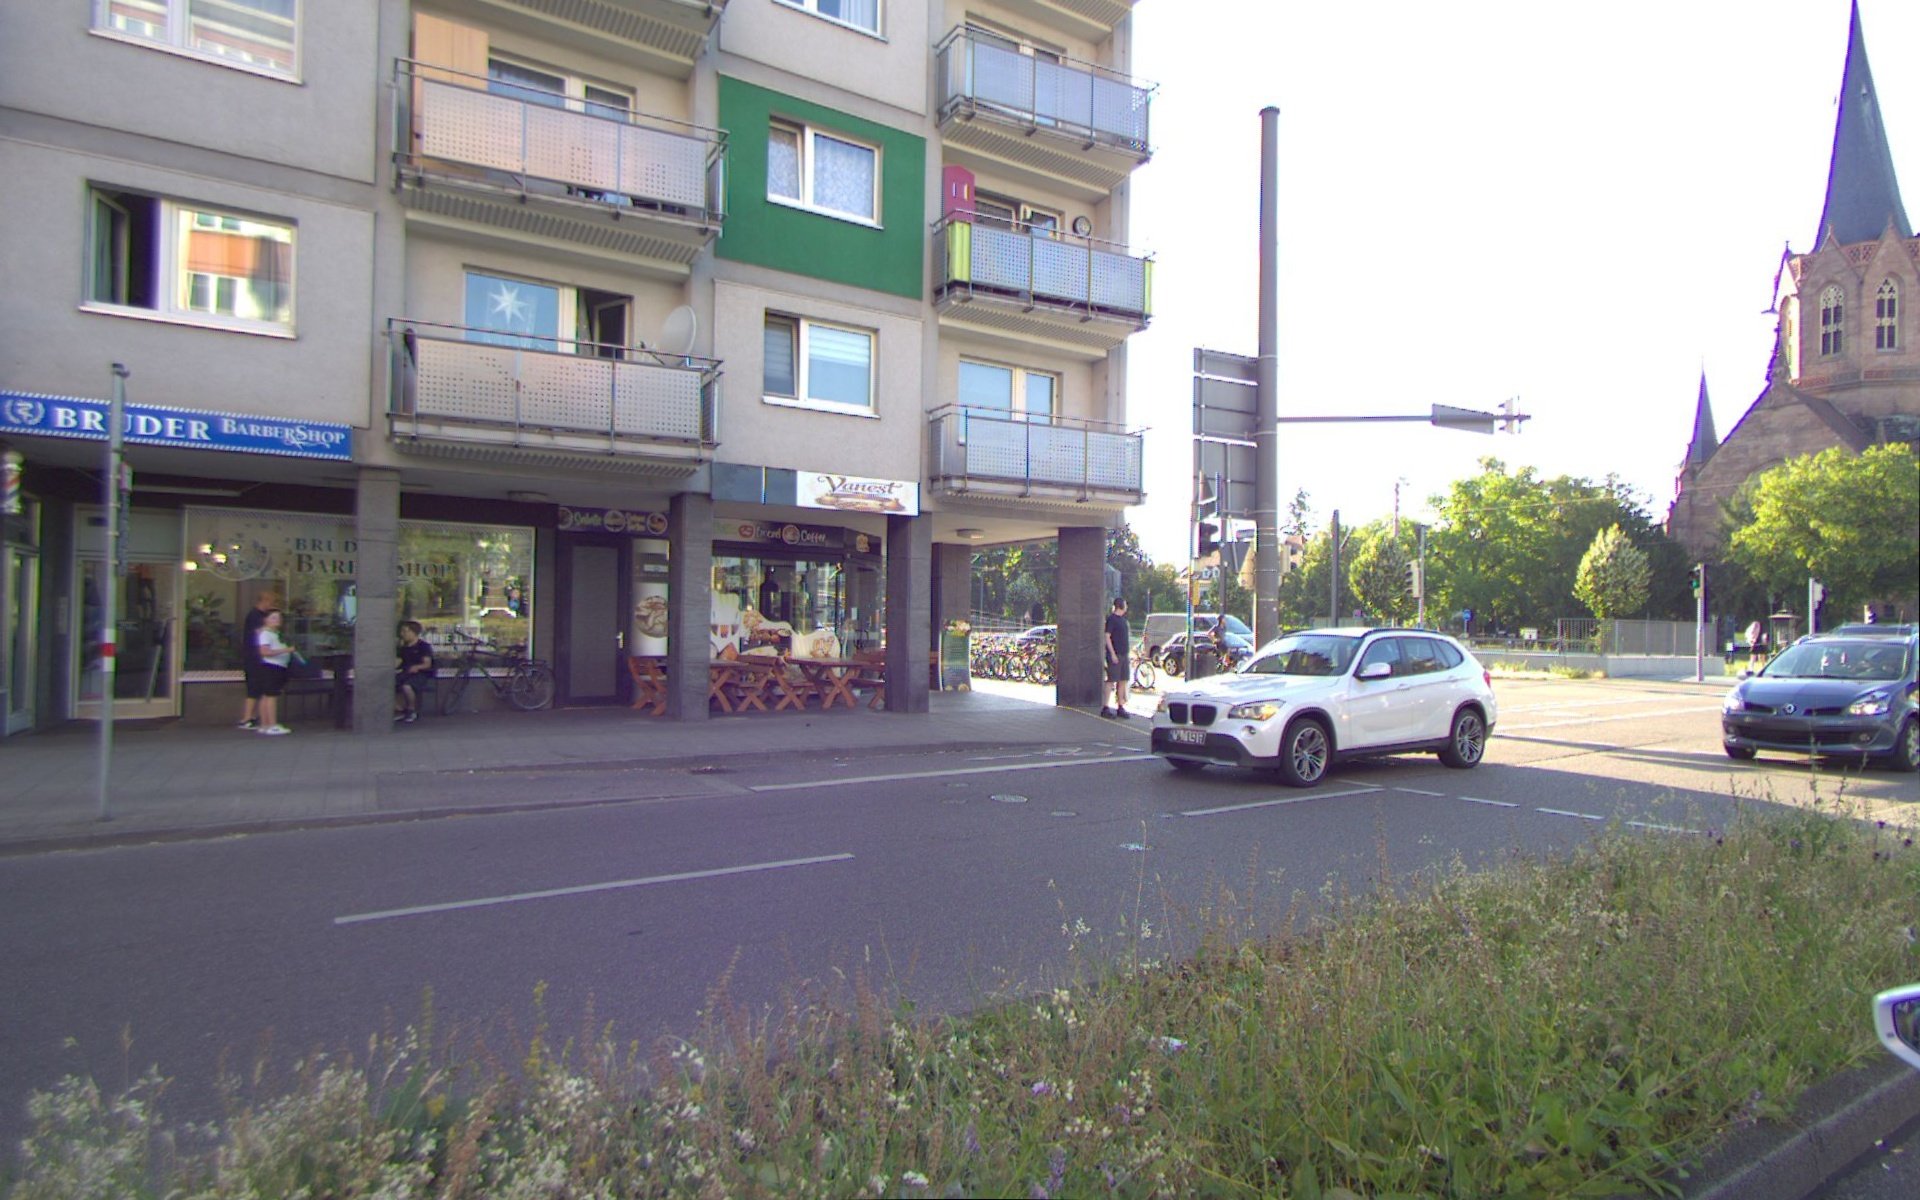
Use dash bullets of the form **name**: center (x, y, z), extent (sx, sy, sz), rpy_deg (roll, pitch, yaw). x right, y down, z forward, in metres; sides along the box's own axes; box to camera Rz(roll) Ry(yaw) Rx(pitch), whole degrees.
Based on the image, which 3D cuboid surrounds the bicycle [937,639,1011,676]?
- **bicycle**: center (0.448, 1.725, 30.275), extent (2.273, 1.065, 0.558), rpy_deg (2, -2, -31)

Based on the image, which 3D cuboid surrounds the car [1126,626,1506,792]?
- **car**: center (3.988, 1.052, 11.036), extent (4.202, 1.508, 1.743), rpy_deg (1, -2, -33)

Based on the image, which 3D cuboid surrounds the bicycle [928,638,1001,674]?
- **bicycle**: center (0.153, 1.719, 30.784), extent (2.273, 1.065, 0.558), rpy_deg (2, -2, -31)

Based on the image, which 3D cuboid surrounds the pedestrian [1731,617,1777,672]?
- **pedestrian**: center (25.999, 1.455, 32.884), extent (0.803, 1.762, 0.960), rpy_deg (2, -1, -32)

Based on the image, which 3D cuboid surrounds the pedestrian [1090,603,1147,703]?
- **pedestrian**: center (2.946, 0.975, 18.703), extent (0.802, 1.811, 0.606), rpy_deg (1, 1, -27)

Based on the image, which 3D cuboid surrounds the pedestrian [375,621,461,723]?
- **pedestrian**: center (-7.316, 0.951, 13.578), extent (0.613, 1.331, 0.811), rpy_deg (0, -1, 16)

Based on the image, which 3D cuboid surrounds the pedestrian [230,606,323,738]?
- **pedestrian**: center (-8.005, 0.826, 11.776), extent (0.613, 1.486, 0.658), rpy_deg (0, -1, 24)

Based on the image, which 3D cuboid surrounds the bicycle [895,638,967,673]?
- **bicycle**: center (-0.918, 1.800, 32.664), extent (2.273, 1.065, 0.731), rpy_deg (2, -2, -31)

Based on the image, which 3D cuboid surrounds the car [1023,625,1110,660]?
- **car**: center (4.626, 1.833, 43.977), extent (1.781, 1.392, 3.880), rpy_deg (2, -2, -32)

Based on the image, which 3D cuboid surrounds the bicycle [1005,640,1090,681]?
- **bicycle**: center (2.368, 1.616, 26.953), extent (2.273, 1.065, 0.731), rpy_deg (2, -2, -31)

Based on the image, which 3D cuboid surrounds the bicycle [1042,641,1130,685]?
- **bicycle**: center (3.208, 1.590, 25.477), extent (2.273, 1.065, 0.731), rpy_deg (2, -2, -31)

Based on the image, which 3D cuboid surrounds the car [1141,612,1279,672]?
- **car**: center (8.982, 1.472, 36.550), extent (1.978, 2.040, 4.896), rpy_deg (2, -2, -32)

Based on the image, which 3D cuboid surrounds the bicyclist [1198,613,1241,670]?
- **bicyclist**: center (7.494, 1.194, 29.034), extent (0.952, 1.619, 0.732), rpy_deg (1, -2, -30)

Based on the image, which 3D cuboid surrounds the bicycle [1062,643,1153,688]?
- **bicycle**: center (3.646, 1.603, 24.795), extent (2.273, 1.065, 0.731), rpy_deg (2, -2, -31)

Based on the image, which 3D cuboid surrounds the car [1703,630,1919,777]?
- **car**: center (10.668, 1.103, 11.930), extent (3.939, 1.490, 1.584), rpy_deg (1, -2, -31)

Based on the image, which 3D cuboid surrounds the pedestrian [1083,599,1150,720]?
- **pedestrian**: center (2.531, 0.947, 16.274), extent (0.803, 1.900, 0.605), rpy_deg (1, 2, -30)

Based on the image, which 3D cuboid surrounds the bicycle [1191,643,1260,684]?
- **bicycle**: center (7.608, 1.811, 28.828), extent (0.940, 1.112, 1.769), rpy_deg (1, -2, -30)

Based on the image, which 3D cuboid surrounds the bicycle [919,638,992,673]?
- **bicycle**: center (-0.125, 1.720, 31.292), extent (2.273, 1.065, 0.642), rpy_deg (2, -2, -31)

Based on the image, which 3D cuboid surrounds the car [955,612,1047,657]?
- **car**: center (1.901, 1.620, 48.079), extent (1.978, 2.040, 4.896), rpy_deg (2, -2, -32)

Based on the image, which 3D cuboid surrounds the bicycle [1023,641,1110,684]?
- **bicycle**: center (2.784, 1.607, 26.143), extent (2.273, 1.065, 0.731), rpy_deg (2, -2, -31)

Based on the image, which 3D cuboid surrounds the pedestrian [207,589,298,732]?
- **pedestrian**: center (-8.643, 0.722, 12.287), extent (0.613, 1.694, 0.658), rpy_deg (0, -1, 24)

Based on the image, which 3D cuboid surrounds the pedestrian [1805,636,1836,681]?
- **pedestrian**: center (34.193, 2.298, 39.923), extent (0.833, 1.719, 1.011), rpy_deg (2, 0, 44)

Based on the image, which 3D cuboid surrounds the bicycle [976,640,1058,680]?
- **bicycle**: center (1.616, 1.684, 28.320), extent (2.273, 1.065, 0.731), rpy_deg (2, -2, -31)

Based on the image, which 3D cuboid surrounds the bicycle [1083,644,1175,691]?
- **bicycle**: center (4.071, 1.597, 24.113), extent (2.273, 1.065, 0.731), rpy_deg (2, -1, -31)

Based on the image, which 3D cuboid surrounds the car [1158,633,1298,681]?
- **car**: center (8.294, 1.727, 31.437), extent (1.781, 1.330, 4.165), rpy_deg (2, -2, -32)

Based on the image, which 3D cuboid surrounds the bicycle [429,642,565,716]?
- **bicycle**: center (-6.725, 1.128, 14.633), extent (1.684, 1.012, 0.619), rpy_deg (2, -2, -40)

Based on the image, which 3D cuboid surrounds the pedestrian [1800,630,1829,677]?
- **pedestrian**: center (32.123, 2.005, 37.756), extent (0.889, 1.719, 0.701), rpy_deg (2, 0, -43)

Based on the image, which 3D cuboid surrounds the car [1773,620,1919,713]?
- **car**: center (17.865, 1.246, 19.706), extent (4.056, 1.650, 1.711), rpy_deg (1, -2, -32)

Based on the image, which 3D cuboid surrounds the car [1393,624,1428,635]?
- **car**: center (68.014, 4.438, 151.516), extent (1.985, 1.592, 4.411), rpy_deg (2, -2, -41)

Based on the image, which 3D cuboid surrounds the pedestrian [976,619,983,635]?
- **pedestrian**: center (2.309, 3.220, 118.801), extent (0.677, 1.847, 0.531), rpy_deg (2, -1, -27)

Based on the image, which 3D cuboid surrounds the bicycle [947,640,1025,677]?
- **bicycle**: center (0.775, 1.726, 29.691), extent (2.273, 1.065, 0.731), rpy_deg (2, -2, -31)

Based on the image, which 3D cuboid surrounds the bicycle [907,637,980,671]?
- **bicycle**: center (-0.511, 1.718, 31.978), extent (2.273, 1.065, 0.731), rpy_deg (2, -2, -31)

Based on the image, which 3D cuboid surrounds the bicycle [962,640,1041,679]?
- **bicycle**: center (1.214, 1.712, 29.011), extent (2.273, 1.065, 0.731), rpy_deg (2, -2, -31)

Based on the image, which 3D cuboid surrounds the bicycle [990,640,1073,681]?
- **bicycle**: center (1.981, 1.666, 27.641), extent (2.273, 1.065, 0.731), rpy_deg (2, -2, -31)
